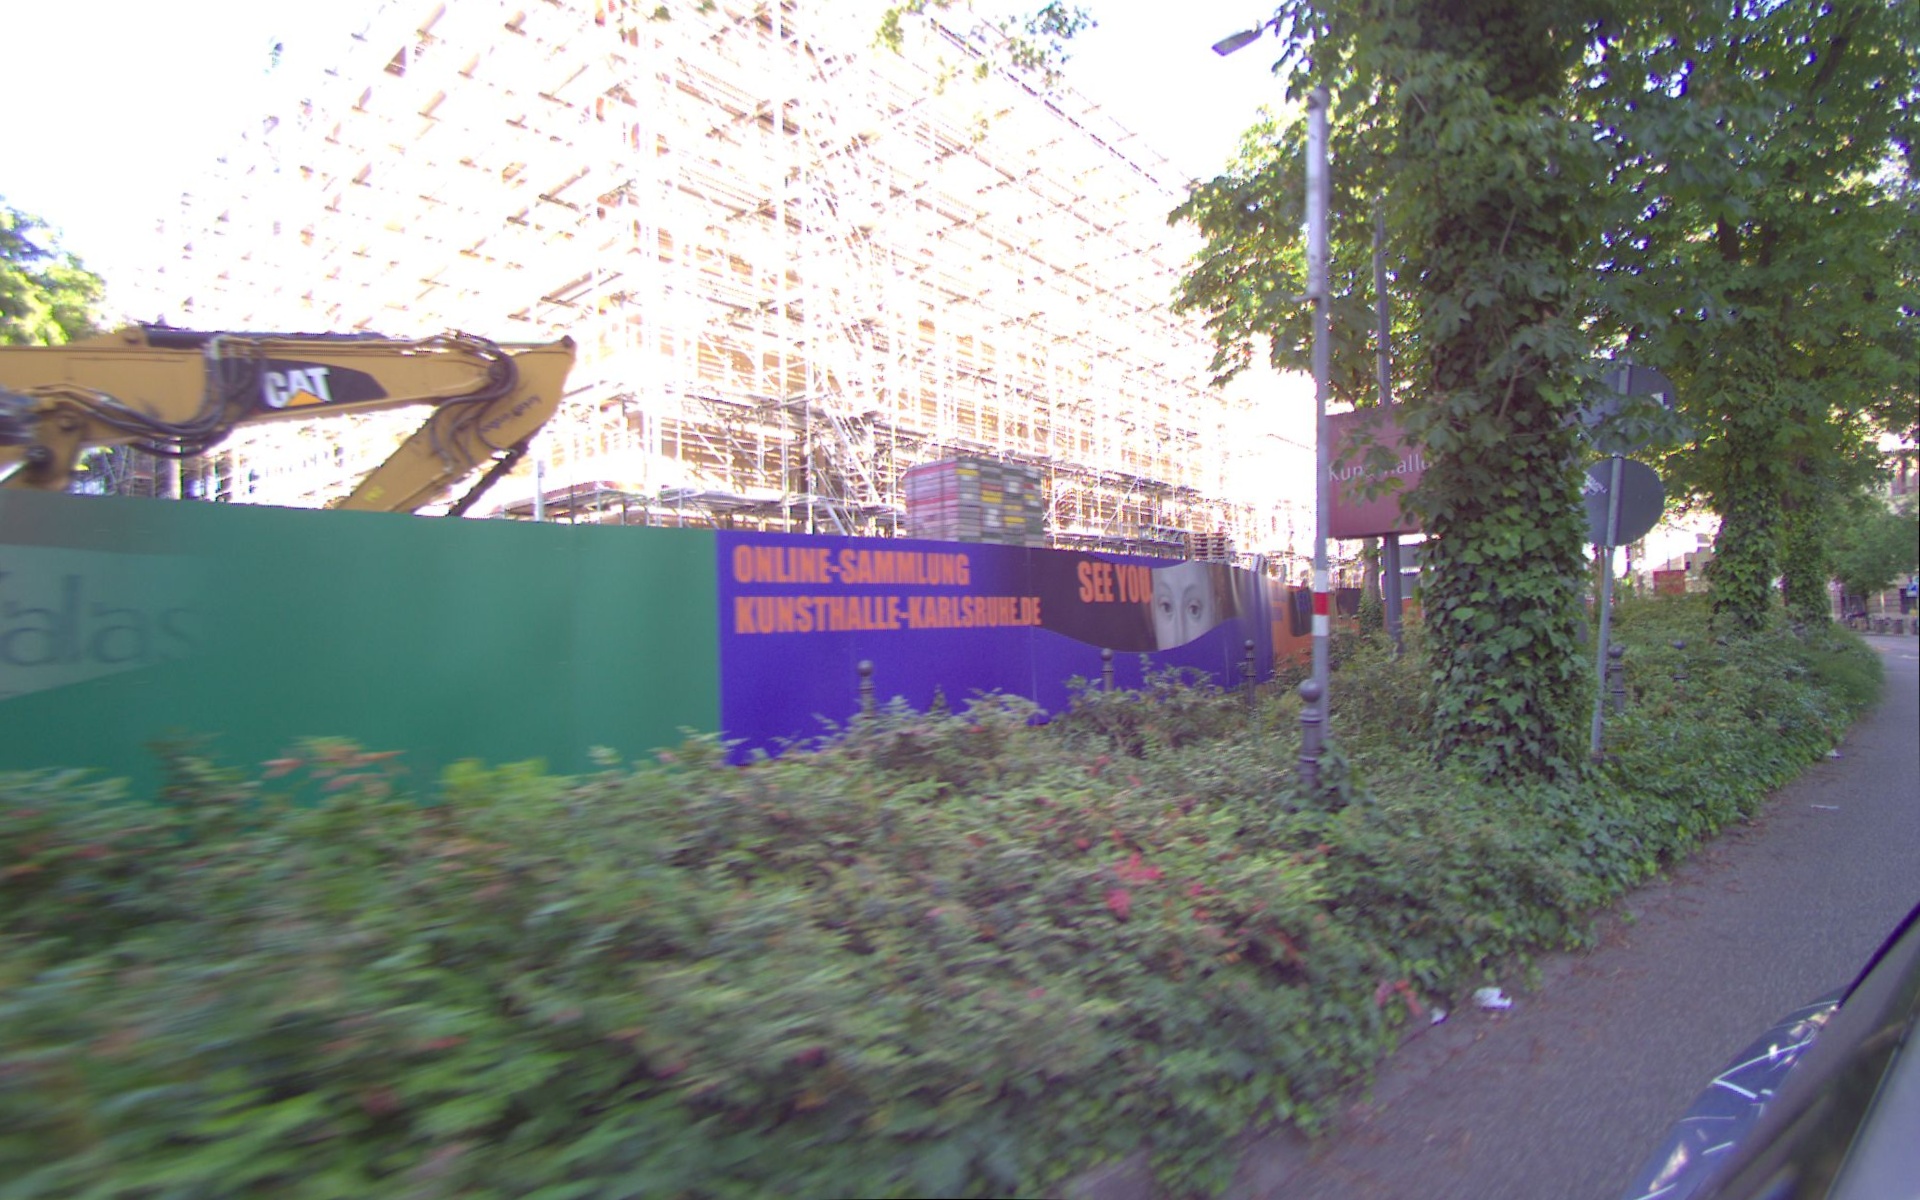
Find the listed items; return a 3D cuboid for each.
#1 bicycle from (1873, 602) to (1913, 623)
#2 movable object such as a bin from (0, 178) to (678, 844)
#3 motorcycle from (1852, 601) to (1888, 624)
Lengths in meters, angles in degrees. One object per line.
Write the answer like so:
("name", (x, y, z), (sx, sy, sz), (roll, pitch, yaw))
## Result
("bicycle", (55.666, 0.738, 60.363), (1.964, 1.222, 0.684), (0, -1, -9))
("movable object such as a bin", (-6.876, -0.598, 8.987), (7.770, 4.598, 3.310), (0, -1, -43))
("motorcycle", (53.621, 0.742, 59.671), (0.805, 1.334, 2.318), (-2, -2, 23))
